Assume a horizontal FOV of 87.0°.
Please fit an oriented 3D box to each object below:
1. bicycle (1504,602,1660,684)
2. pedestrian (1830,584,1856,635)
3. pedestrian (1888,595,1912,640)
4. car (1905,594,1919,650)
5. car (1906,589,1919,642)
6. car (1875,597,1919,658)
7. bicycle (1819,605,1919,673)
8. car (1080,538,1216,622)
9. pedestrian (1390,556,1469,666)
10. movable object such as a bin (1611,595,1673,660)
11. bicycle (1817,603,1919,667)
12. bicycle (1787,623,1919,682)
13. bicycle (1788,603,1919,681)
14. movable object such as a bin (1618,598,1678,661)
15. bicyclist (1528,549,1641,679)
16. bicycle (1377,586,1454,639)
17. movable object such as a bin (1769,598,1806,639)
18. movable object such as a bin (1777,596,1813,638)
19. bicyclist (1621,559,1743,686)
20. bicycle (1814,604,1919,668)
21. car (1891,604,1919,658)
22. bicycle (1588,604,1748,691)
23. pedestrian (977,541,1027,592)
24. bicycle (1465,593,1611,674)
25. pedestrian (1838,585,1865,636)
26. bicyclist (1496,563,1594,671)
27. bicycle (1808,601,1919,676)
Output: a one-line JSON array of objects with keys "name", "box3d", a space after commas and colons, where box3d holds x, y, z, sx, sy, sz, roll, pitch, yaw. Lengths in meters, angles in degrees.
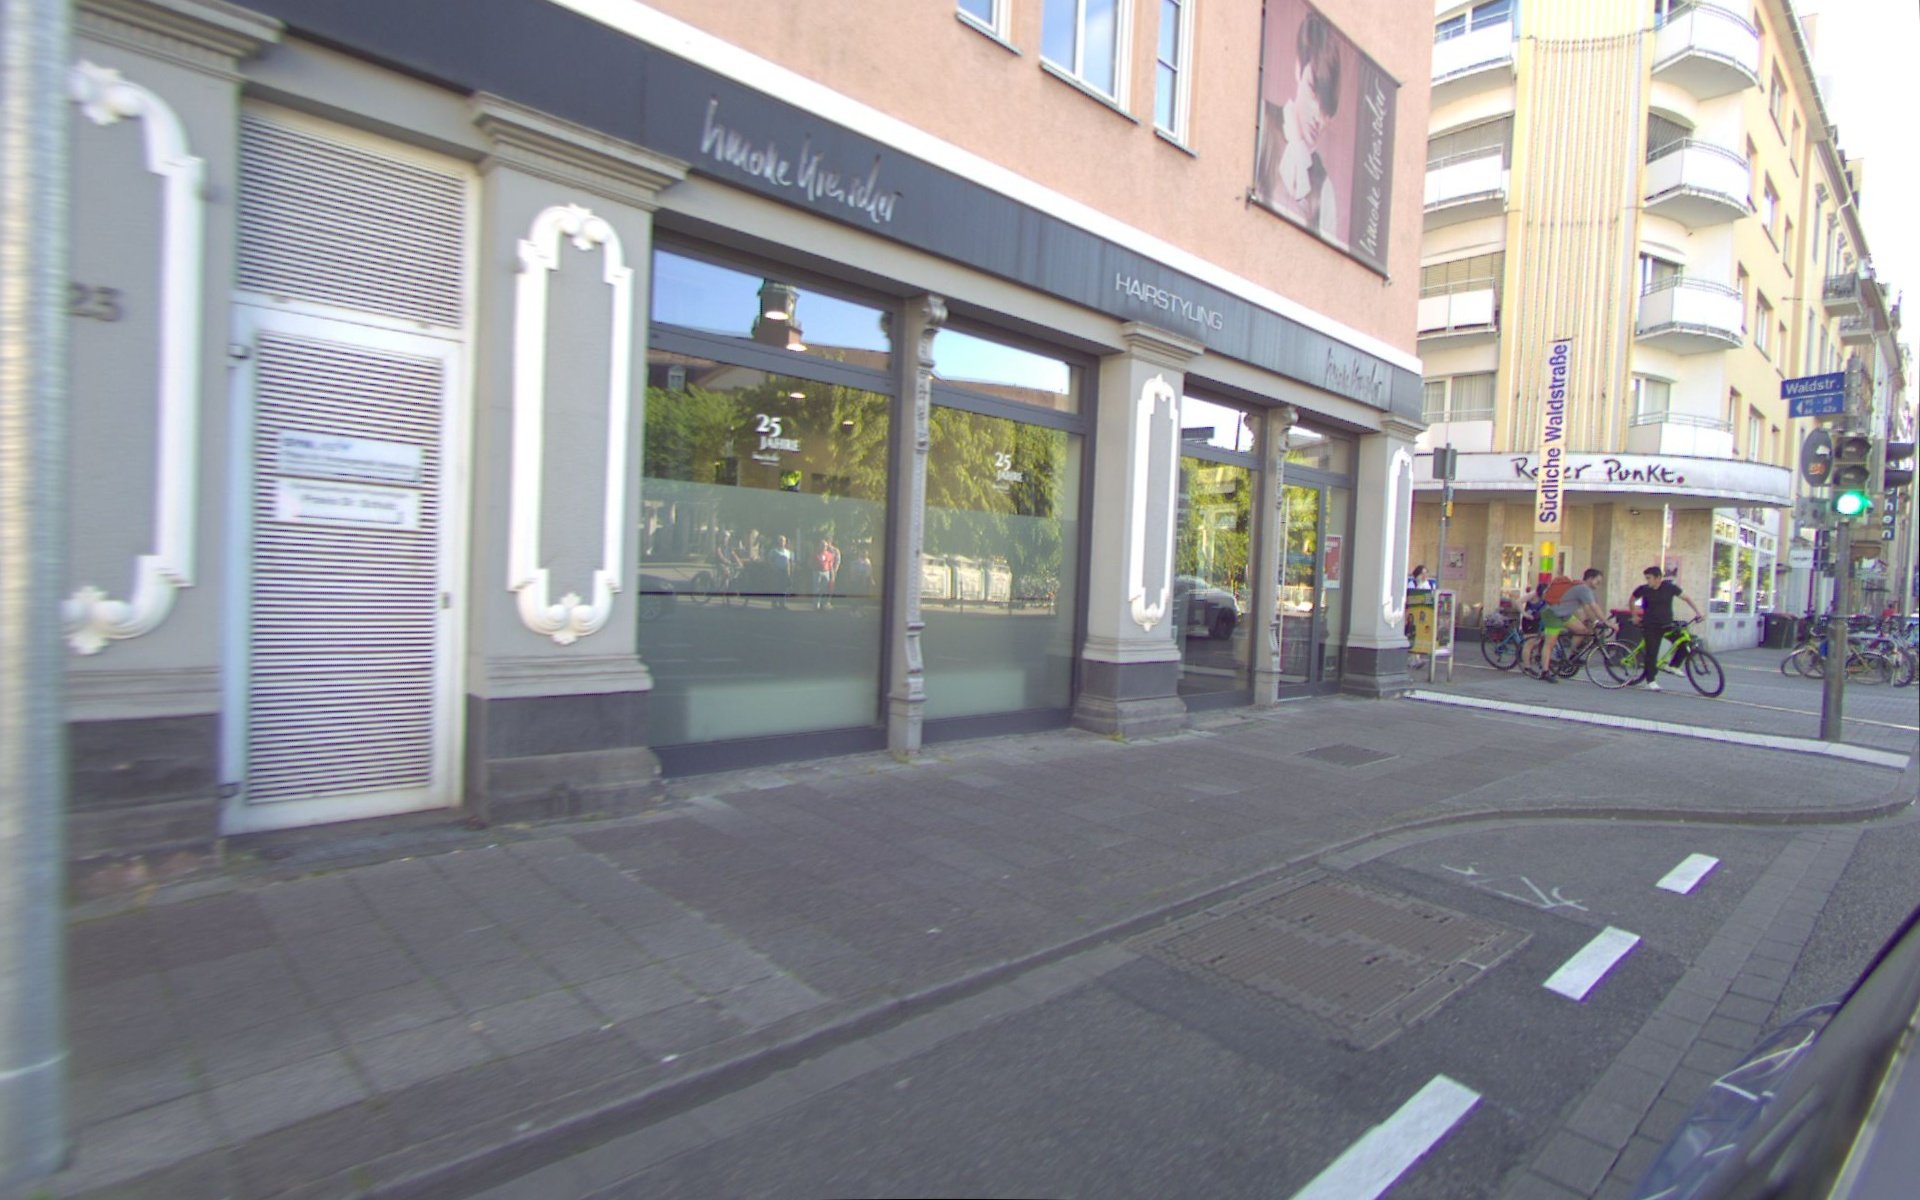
[{"name": "bicycle", "box3d": [9.032, 0.594, 14.764, 0.555, 1.006, 1.820, 1, 3, -41]}, {"name": "pedestrian", "box3d": [35.339, 0.369, 40.492, 0.671, 1.977, 0.605, 4, 2, 43]}, {"name": "pedestrian", "box3d": [41.705, 0.773, 44.903, 0.693, 1.930, 0.892, 4, 2, 43]}, {"name": "car", "box3d": [31.987, 0.746, 32.700, 1.995, 1.756, 4.132, 4, 3, 44]}, {"name": "car", "box3d": [36.253, 0.605, 37.071, 1.992, 1.901, 3.942, 4, 3, 40]}, {"name": "car", "box3d": [24.468, 0.706, 25.471, 3.931, 1.415, 1.692, 1, 3, -42]}, {"name": "bicycle", "box3d": [18.062, 0.763, 19.654, 0.742, 1.171, 1.961, 1, 3, -42]}, {"name": "car", "box3d": [5.876, -0.702, 32.337, 2.026, 2.498, 4.707, 0, 3, -22]}, {"name": "pedestrian", "box3d": [7.457, 0.158, 16.111, 0.751, 1.679, 0.817, 2, 1, -7]}, {"name": "movable object such as a bin", "box3d": [12.732, 0.499, 18.908, 0.610, 1.126, 0.809, 0, 3, -45]}, {"name": "bicycle", "box3d": [18.903, 0.715, 20.645, 0.703, 1.164, 2.025, 1, 3, -42]}, {"name": "bicycle", "box3d": [15.879, 0.904, 17.925, 1.841, 0.841, 0.731, 5, 3, 41]}, {"name": "bicycle", "box3d": [16.283, 0.728, 18.312, 1.940, 1.226, 0.919, 5, 3, 41]}, {"name": "movable object such as a bin", "box3d": [13.182, 0.547, 19.397, 0.610, 1.126, 0.809, 0, 3, -45]}, {"name": "bicyclist", "box3d": [9.054, 0.179, 14.687, 0.740, 1.783, 1.141, 1, 2, -39]}, {"name": "bicycle", "box3d": [10.055, 0.284, 22.335, 1.714, 1.101, 0.562, 1, 2, -28]}, {"name": "movable object such as a bin", "box3d": [25.082, 0.558, 30.683, 0.944, 1.174, 0.702, 1, 2, -43]}, {"name": "movable object such as a bin", "box3d": [26.319, 0.529, 31.906, 0.944, 1.254, 0.702, 1, 2, -43]}, {"name": "bicyclist", "box3d": [10.217, 0.295, 14.365, 0.711, 1.705, 1.135, 2, 2, -16]}, {"name": "bicycle", "box3d": [19.557, 0.752, 21.485, 0.671, 1.195, 2.048, 1, 3, -42]}, {"name": "car", "box3d": [27.731, 0.883, 28.789, 1.737, 1.442, 3.937, 4, 3, 43]}, {"name": "bicycle", "box3d": [10.152, 0.647, 14.616, 0.548, 1.032, 1.921, 2, 3, -16]}, {"name": "pedestrian", "box3d": [1.258, -1.025, 30.505, 1.089, 1.498, 1.086, 0, 3, -26]}, {"name": "bicycle", "box3d": [9.076, 0.494, 15.988, 0.718, 1.110, 1.925, 2, 2, -22]}, {"name": "pedestrian", "box3d": [35.023, 0.412, 39.756, 0.693, 1.930, 0.892, 4, 2, 43]}, {"name": "bicyclist", "box3d": [9.105, 0.250, 15.783, 0.711, 1.602, 1.033, 2, 2, -22]}, {"name": "bicycle", "box3d": [17.184, 0.717, 18.770, 2.136, 1.259, 0.700, 5, 3, 43]}]
